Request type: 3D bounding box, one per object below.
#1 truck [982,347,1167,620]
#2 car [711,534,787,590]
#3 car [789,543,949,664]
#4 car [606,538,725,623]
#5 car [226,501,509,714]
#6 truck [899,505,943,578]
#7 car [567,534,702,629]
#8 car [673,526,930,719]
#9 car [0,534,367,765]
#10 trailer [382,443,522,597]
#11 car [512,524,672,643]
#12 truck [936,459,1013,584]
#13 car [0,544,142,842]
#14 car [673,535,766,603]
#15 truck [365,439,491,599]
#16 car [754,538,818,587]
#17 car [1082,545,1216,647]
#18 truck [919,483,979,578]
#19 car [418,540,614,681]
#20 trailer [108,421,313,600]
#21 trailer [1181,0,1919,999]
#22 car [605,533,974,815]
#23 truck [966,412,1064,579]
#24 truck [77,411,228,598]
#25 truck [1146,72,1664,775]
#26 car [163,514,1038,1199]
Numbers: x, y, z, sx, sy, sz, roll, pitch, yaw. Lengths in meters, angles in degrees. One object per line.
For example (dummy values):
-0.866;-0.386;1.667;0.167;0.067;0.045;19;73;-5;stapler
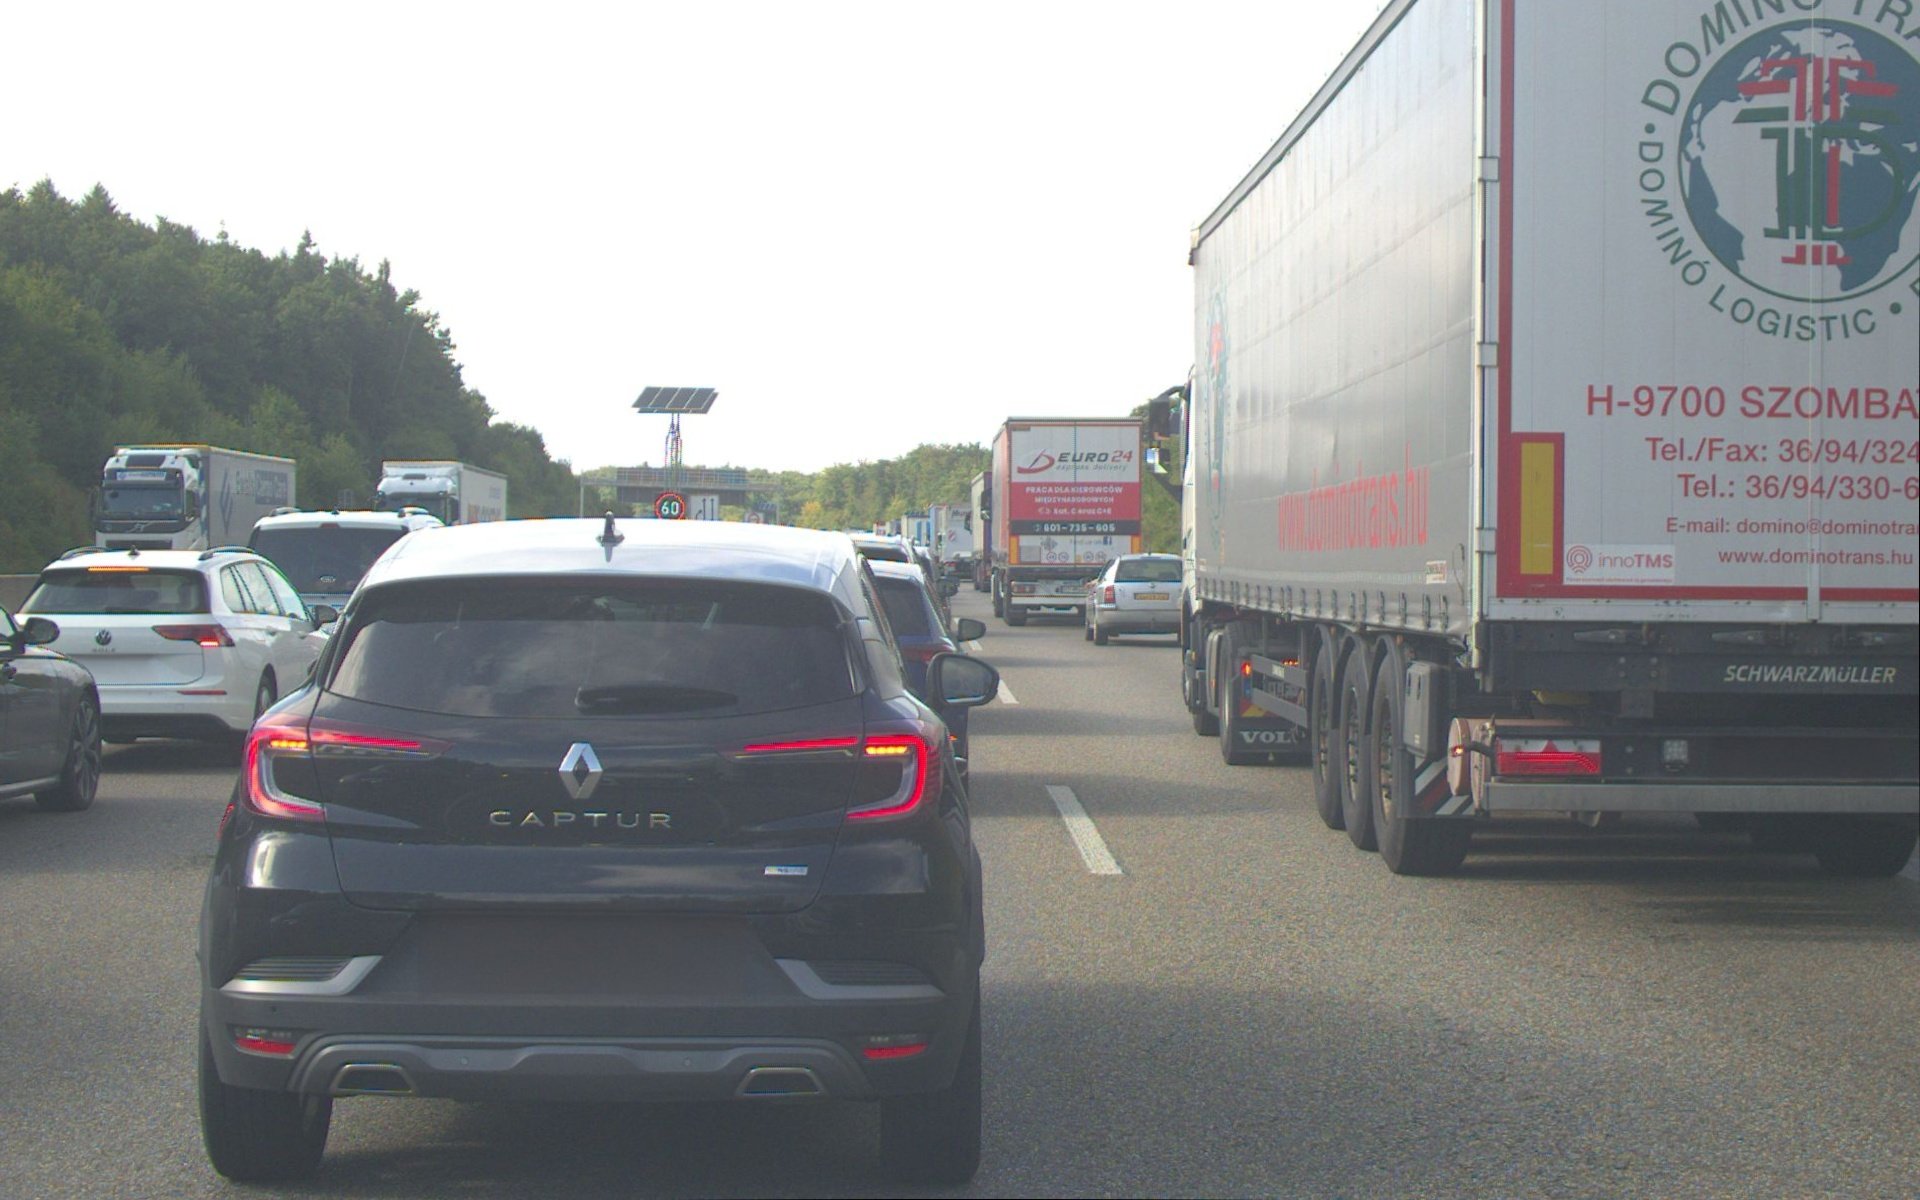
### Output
2.173;-2.223;70.459;3.365;5.027;12.737;1;0;0;truck
-6.230;-1.140;101.869;1.993;1.607;4.000;1;1;0;car
-1.152;0.029;45.433;1.993;1.509;4.000;1;0;0;car
-5.828;-0.400;68.375;1.993;1.607;4.000;1;0;0;car
-5.340;0.048;31.499;1.911;1.783;4.418;1;0;-1;car
-2.962;-4.456;264.805;3.166;5.486;12.737;1;0;0;truck
-5.727;-0.336;60.840;1.993;1.607;4.000;1;0;0;car
-1.277;0.162;29.377;1.993;1.509;4.000;1;0;0;car
-5.449;0.292;24.031;1.804;1.456;4.308;1;1;1;car
-17.721;-2.702;120.850;3.088;5.056;13.836;1;0;-1;trailer
-5.547;-0.261;52.250;1.993;1.716;4.000;1;0;0;car
0.746;-3.508;158.592;3.167;5.486;12.737;1;0;2;truck
-5.635;0.443;17.420;1.843;1.451;4.748;1;1;0;car
-5.855;-0.769;84.136;1.993;1.607;4.000;1;1;0;car
-17.545;-2.633;113.852;3.088;5.083;7.142;1;0;-1;truck
-5.943;-1.297;117.722;1.993;1.607;4.000;1;1;0;car
2.961;-0.076;54.619;1.804;1.527;3.926;1;0;-1;car
-0.557;-3.819;193.268;3.166;5.142;12.737;1;0;0;truck
-5.408;0.108;42.303;1.855;1.635;3.925;1;0;0;car
-21.634;-2.483;100.232;2.927;4.813;14.655;1;0;-1;trailer
3.238;-1.077;18.375;3.002;4.645;13.291;1;1;-1;trailer
-0.929;0.385;20.762;1.993;1.509;4.000;1;0;0;car
1.846;-3.498;120.076;3.166;5.486;12.737;1;0;0;truck
-21.654;-2.526;92.381;2.931;4.842;4.766;1;0;-1;truck
3.122;-1.225;25.856;2.997;4.651;5.940;1;1;-1;truck
-0.717;0.569;9.241;1.805;1.547;4.000;0;1;2;car
